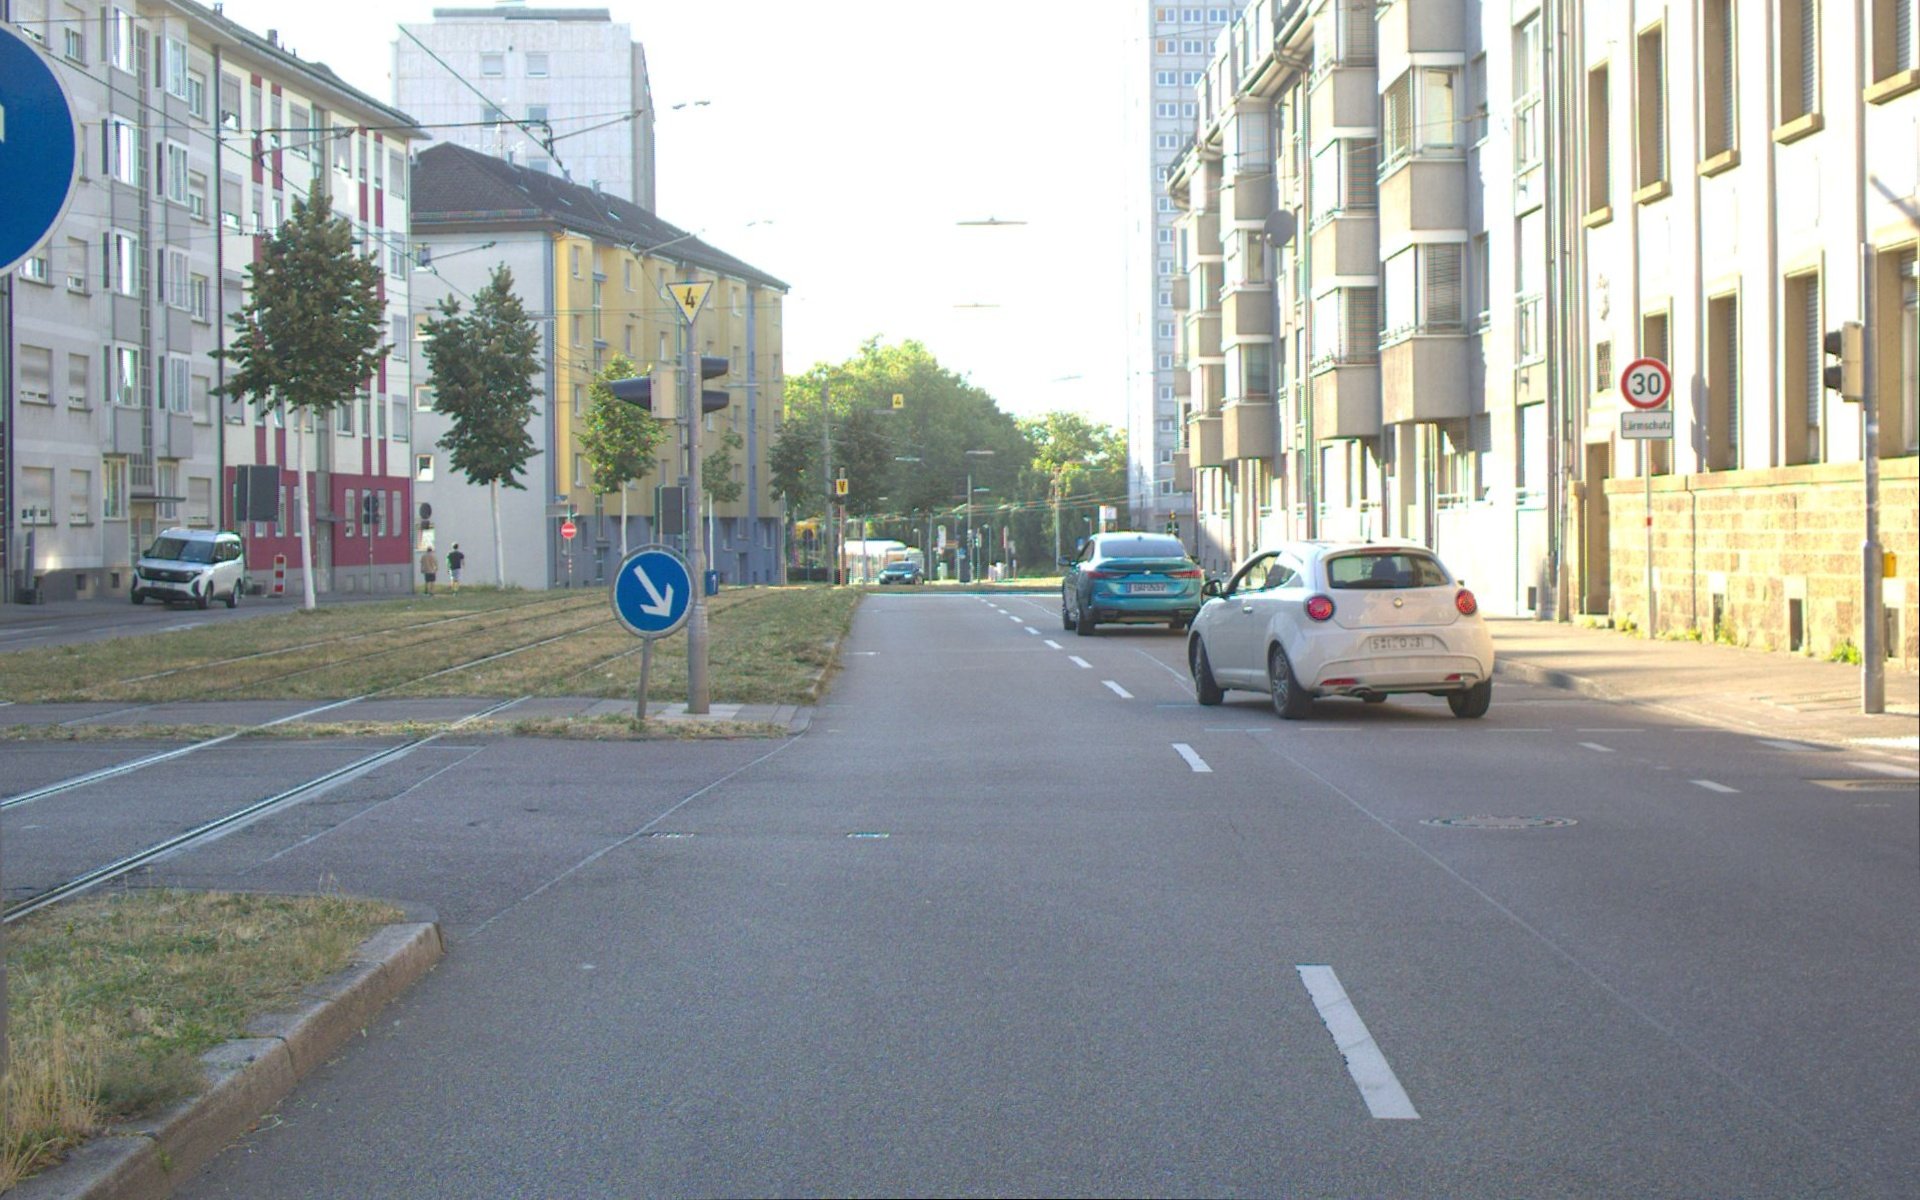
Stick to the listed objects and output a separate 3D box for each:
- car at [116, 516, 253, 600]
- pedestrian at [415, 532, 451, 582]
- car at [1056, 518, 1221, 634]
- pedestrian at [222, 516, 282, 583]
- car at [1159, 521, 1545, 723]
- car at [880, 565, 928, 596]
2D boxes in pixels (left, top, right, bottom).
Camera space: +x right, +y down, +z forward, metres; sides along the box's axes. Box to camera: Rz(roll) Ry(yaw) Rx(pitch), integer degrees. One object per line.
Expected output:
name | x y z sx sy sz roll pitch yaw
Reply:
car | -18.368 -0.999 81.620 1.994 1.918 4.541 1 1 3
pedestrian | -17.863 -1.460 116.585 0.962 1.688 1.011 1 0 5
car | 2.489 -0.346 49.020 1.993 1.549 4.394 1 1 -1
pedestrian | -19.006 -1.348 92.315 1.269 1.755 1.274 1 0 4
car | 3.185 0.152 28.787 1.993 1.558 4.001 1 1 -13
car | -3.072 -1.075 188.616 1.898 1.628 4.746 -1 1 8
